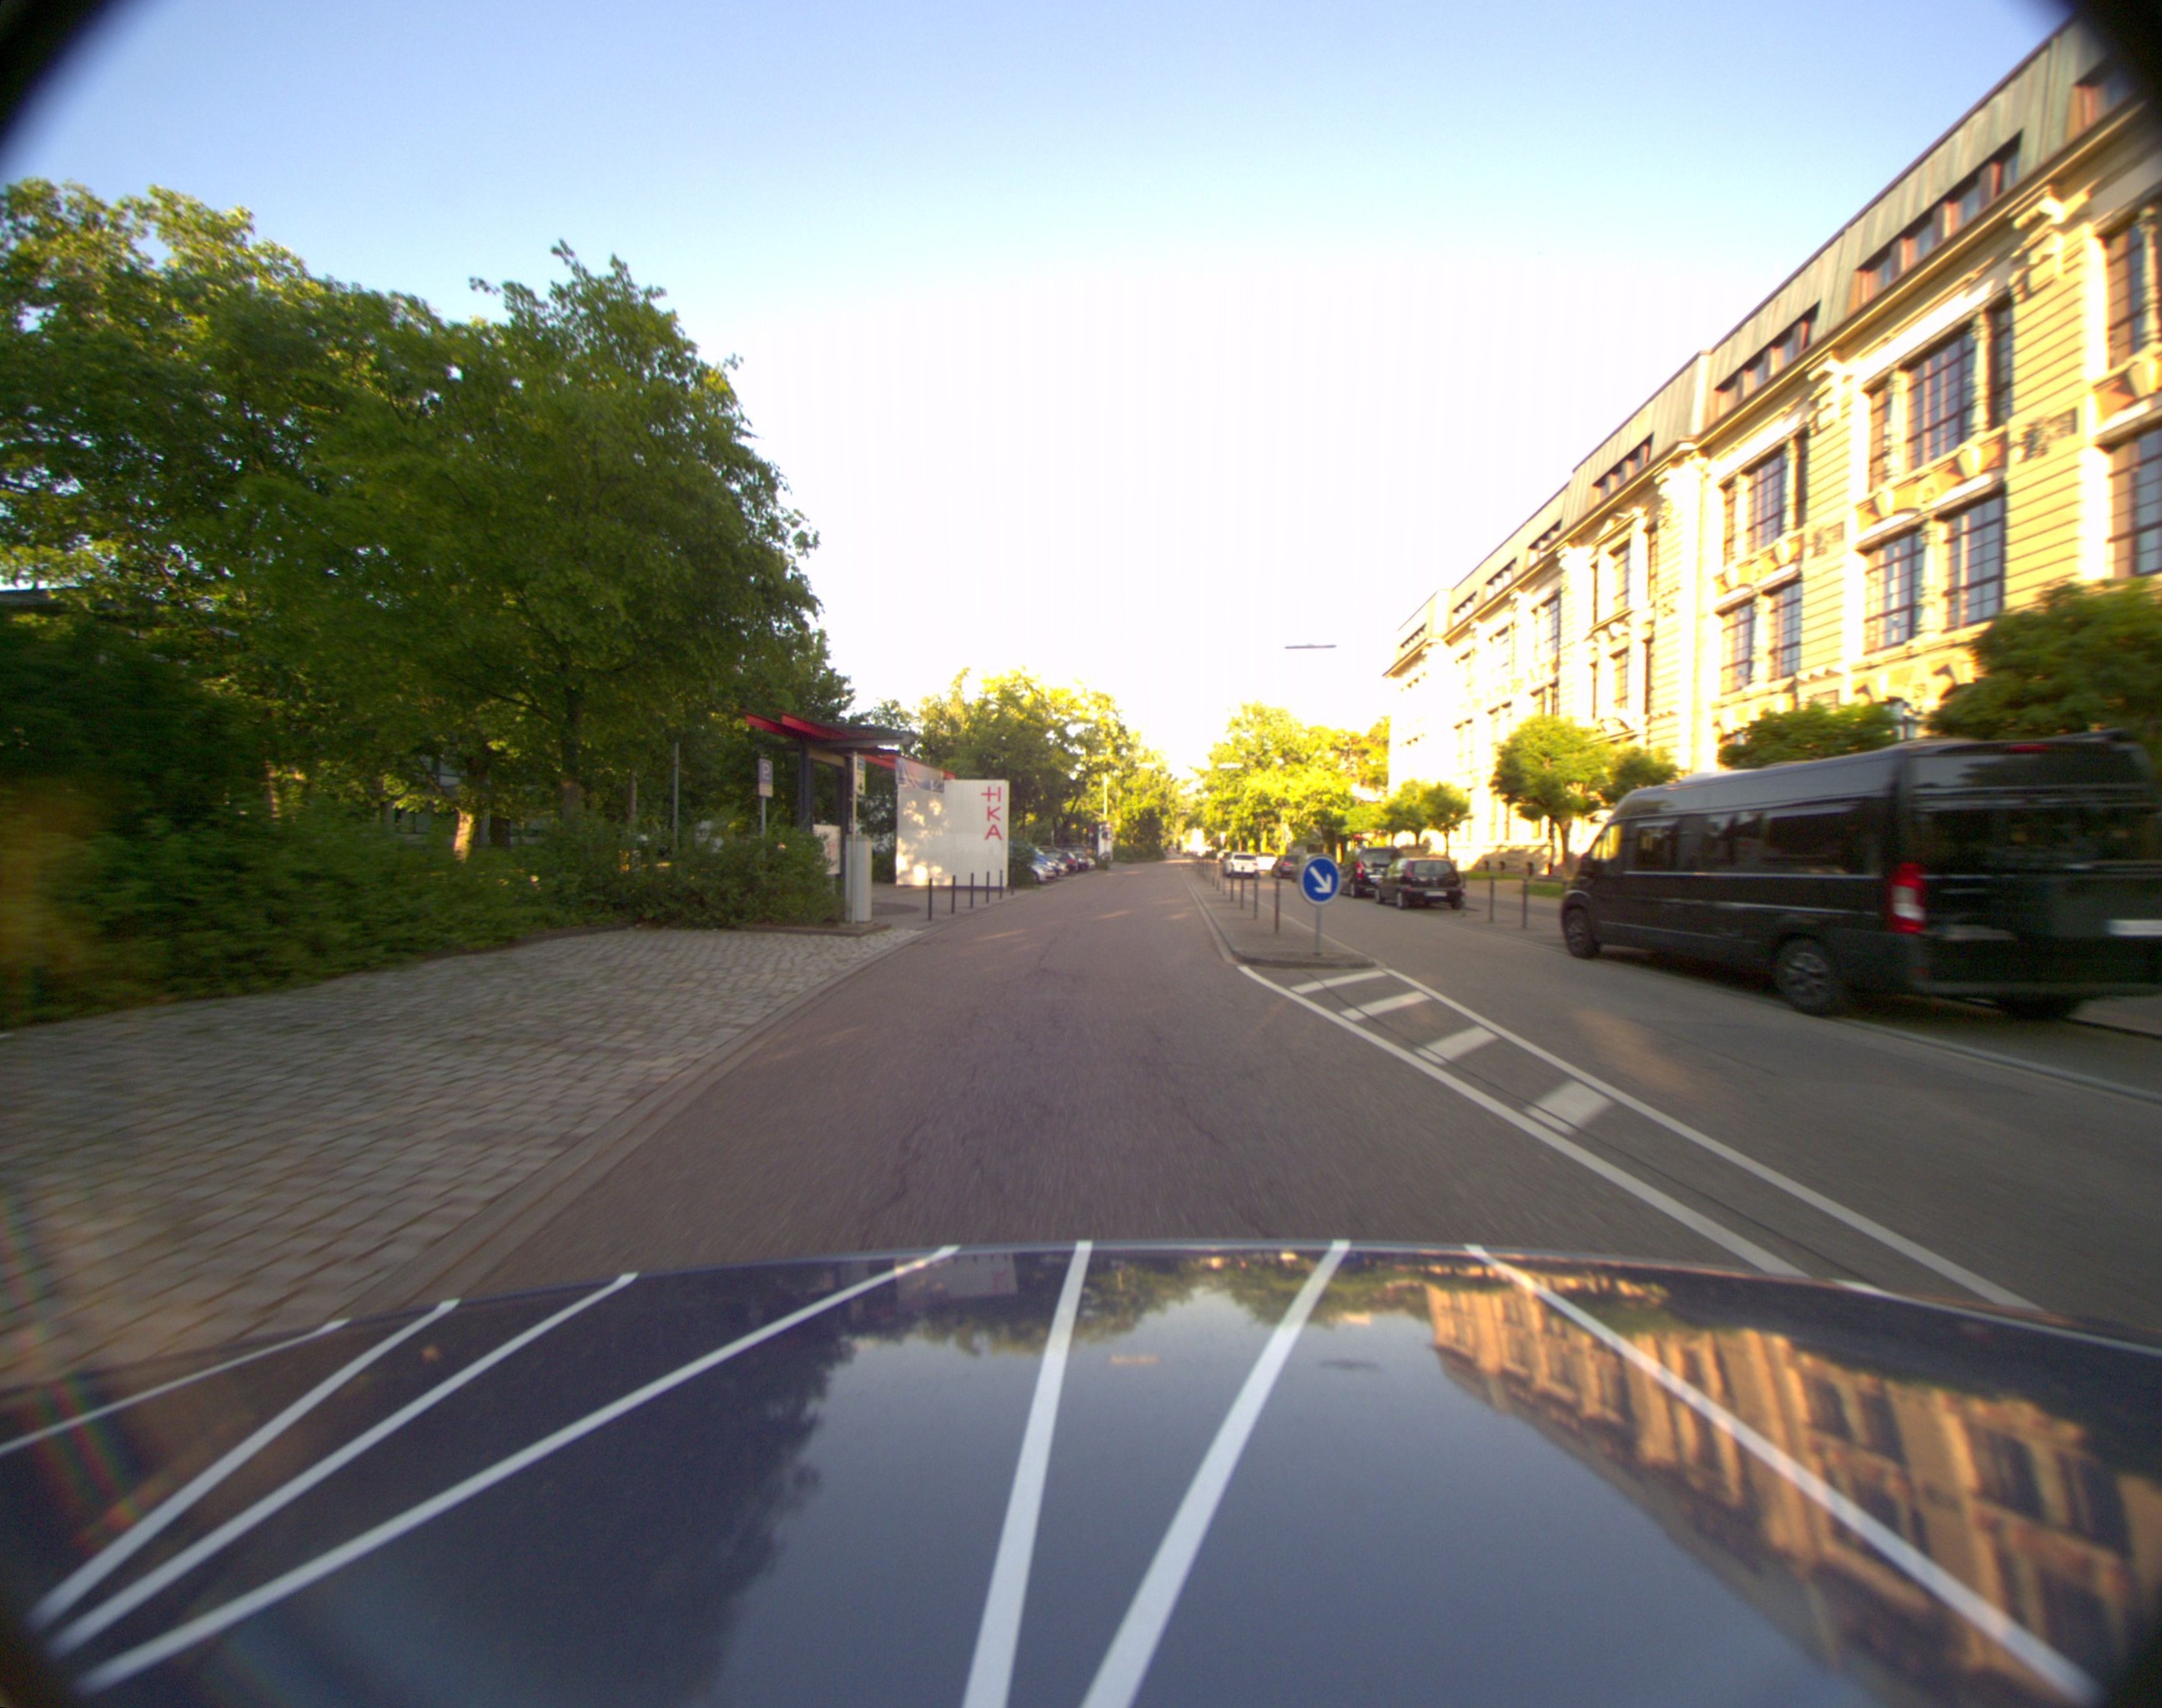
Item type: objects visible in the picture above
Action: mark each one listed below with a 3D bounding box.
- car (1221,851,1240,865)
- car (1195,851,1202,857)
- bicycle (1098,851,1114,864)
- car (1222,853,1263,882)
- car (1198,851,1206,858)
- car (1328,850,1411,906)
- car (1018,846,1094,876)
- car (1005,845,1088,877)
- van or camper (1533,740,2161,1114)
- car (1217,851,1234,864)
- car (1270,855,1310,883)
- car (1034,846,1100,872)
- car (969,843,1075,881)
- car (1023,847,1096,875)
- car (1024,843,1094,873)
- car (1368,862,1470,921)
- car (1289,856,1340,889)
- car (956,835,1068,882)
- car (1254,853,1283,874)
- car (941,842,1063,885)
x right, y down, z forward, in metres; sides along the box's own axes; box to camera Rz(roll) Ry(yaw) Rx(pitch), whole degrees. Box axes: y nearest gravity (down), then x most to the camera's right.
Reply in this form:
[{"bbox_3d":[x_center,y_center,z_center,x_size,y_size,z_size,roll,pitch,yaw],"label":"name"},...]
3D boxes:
[{"bbox_3d":[17.533,0.413,89.145,1.783,1.607,4.149,0,1,6],"label":"car"},{"bbox_3d":[31.511,0.025,203.533,1.775,1.559,4.111,0,0,7],"label":"car"},{"bbox_3d":[2.360,0.350,71.588,0.492,1.141,2.290,5,1,27],"label":"bicycle"},{"bbox_3d":[9.179,0.736,43.479,1.744,1.450,4.625,2,1,6],"label":"car"},{"bbox_3d":[27.729,0.165,173.966,1.775,1.474,4.111,0,0,7],"label":"car"},{"bbox_3d":[10.305,0.799,27.487,1.781,1.855,4.334,-1,0,7],"label":"car"},{"bbox_3d":[-1.498,0.408,46.352,4.371,1.528,1.921,3,1,6],"label":"car"},{"bbox_3d":[-1.888,0.371,42.470,4.371,1.528,1.921,3,1,6],"label":"car"},{"bbox_3d":[8.033,0.458,8.612,2.234,2.530,7.082,0,1,6],"label":"van or camper"},{"bbox_3d":[18.488,0.444,97.134,1.807,1.607,4.149,1,1,6],"label":"car"},{"bbox_3d":[12.330,0.859,44.996,1.621,1.487,4.379,1,1,6],"label":"car"},{"bbox_3d":[-0.948,0.328,53.486,4.371,1.545,1.728,3,1,6],"label":"car"},{"bbox_3d":[-2.909,0.376,38.042,4.936,1.545,1.917,3,1,6],"label":"car"},{"bbox_3d":[-1.364,0.434,48.635,4.371,1.545,1.877,3,1,6],"label":"car"},{"bbox_3d":[-1.442,0.278,51.277,4.371,1.770,1.921,3,1,6],"label":"car"},{"bbox_3d":[9.653,1.009,22.018,1.699,1.462,3.856,-1,0,8],"label":"car"},{"bbox_3d":[11.686,0.880,38.301,1.722,1.487,4.379,1,1,7],"label":"car"},{"bbox_3d":[-3.172,0.199,35.643,4.862,1.905,1.917,3,1,6],"label":"car"},{"bbox_3d":[14.251,0.690,57.810,1.621,1.487,3.926,1,1,6],"label":"car"},{"bbox_3d":[-3.372,0.403,32.957,4.936,1.545,1.917,3,1,6],"label":"car"}]
